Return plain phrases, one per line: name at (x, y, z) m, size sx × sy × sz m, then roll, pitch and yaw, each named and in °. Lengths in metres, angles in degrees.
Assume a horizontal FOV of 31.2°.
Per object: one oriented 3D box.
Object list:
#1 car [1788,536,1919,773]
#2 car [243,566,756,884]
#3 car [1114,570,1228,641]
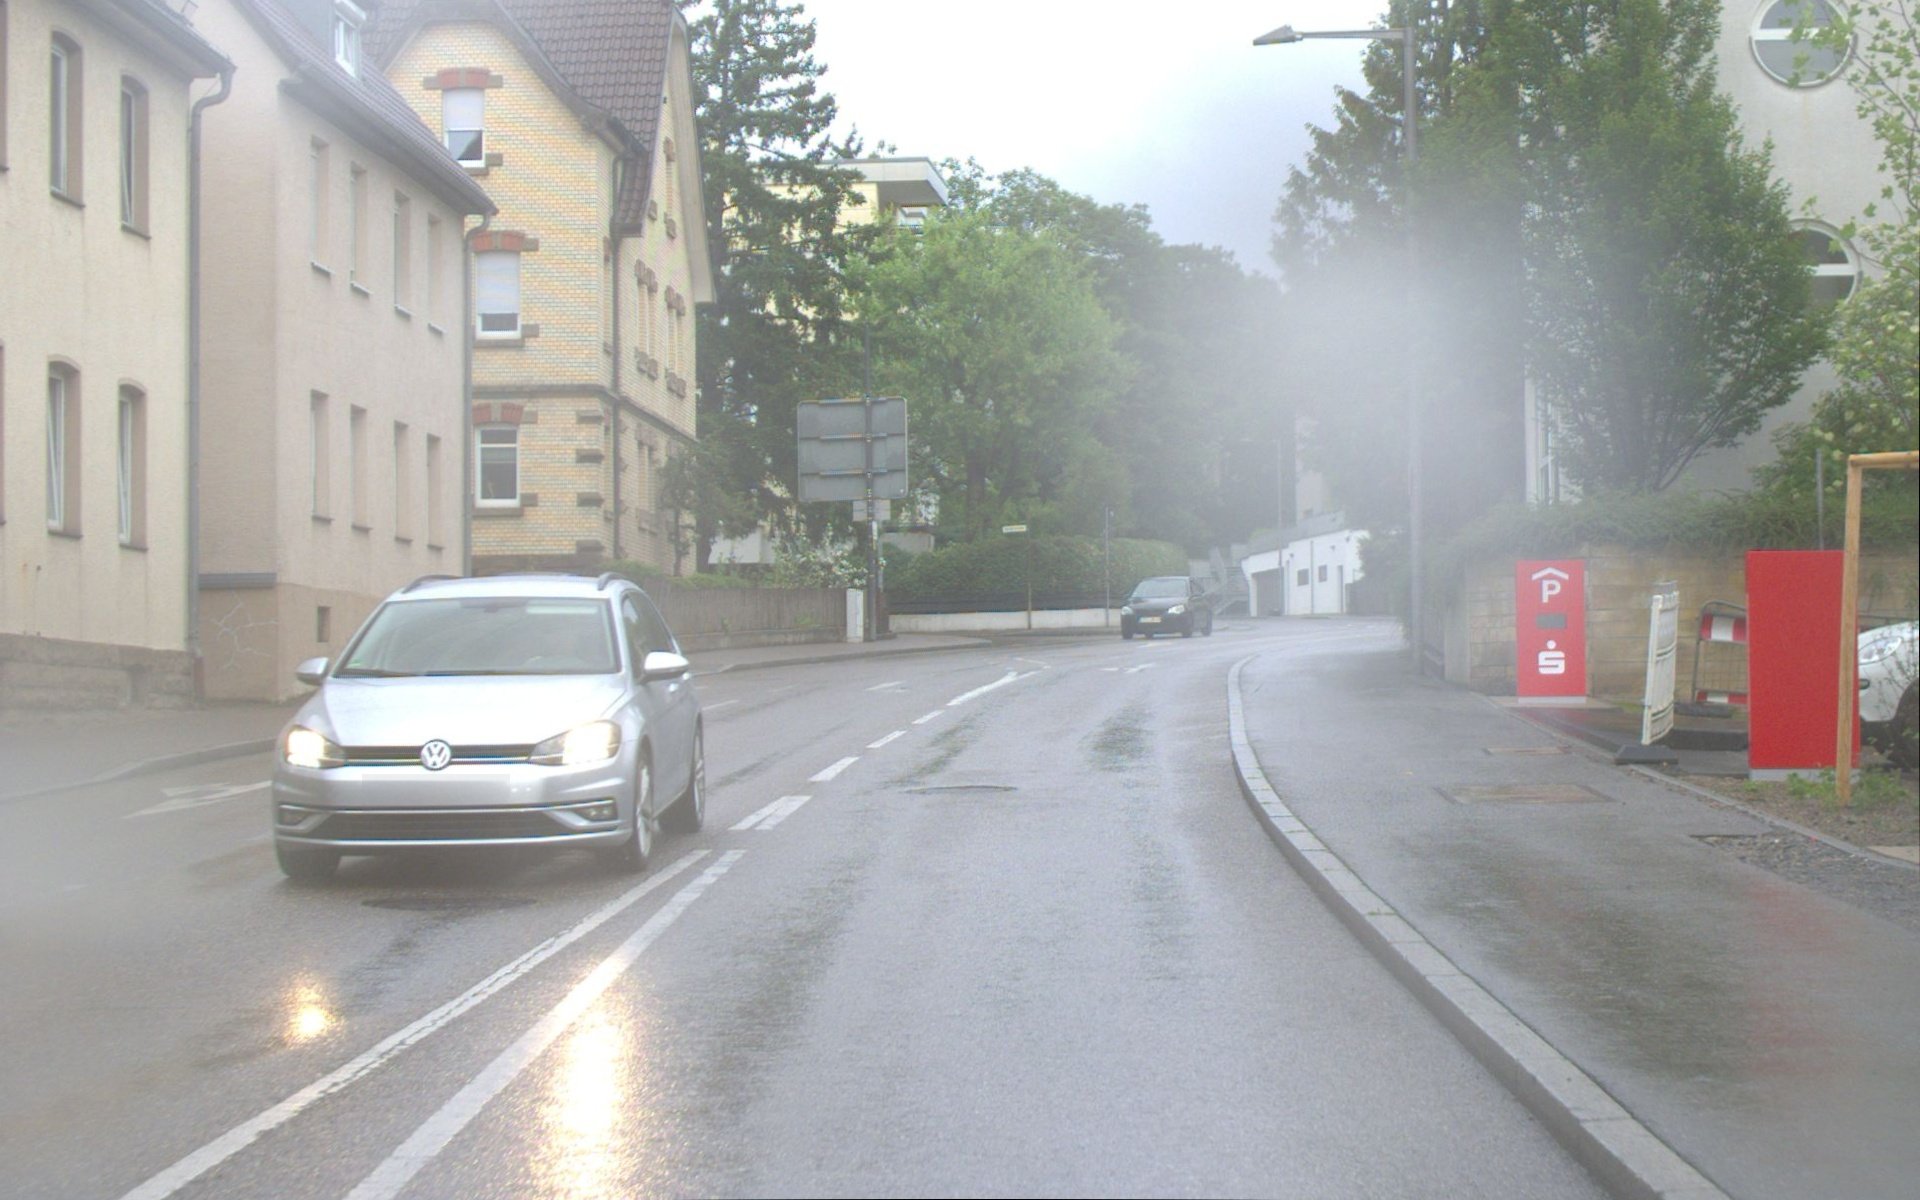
car at (7.478, 0.349, 22.624) m, size 3.667 × 1.498 × 1.776 m, roll 1°, pitch 1°, yaw 4°
car at (-2.261, 0.553, 18.145) m, size 1.799 × 1.434 × 4.688 m, roll 0°, pitch 1°, yaw 4°
car at (5.004, 0.126, 81.187) m, size 1.746 × 1.566 × 3.810 m, roll 3°, pitch 1°, yaw 17°
